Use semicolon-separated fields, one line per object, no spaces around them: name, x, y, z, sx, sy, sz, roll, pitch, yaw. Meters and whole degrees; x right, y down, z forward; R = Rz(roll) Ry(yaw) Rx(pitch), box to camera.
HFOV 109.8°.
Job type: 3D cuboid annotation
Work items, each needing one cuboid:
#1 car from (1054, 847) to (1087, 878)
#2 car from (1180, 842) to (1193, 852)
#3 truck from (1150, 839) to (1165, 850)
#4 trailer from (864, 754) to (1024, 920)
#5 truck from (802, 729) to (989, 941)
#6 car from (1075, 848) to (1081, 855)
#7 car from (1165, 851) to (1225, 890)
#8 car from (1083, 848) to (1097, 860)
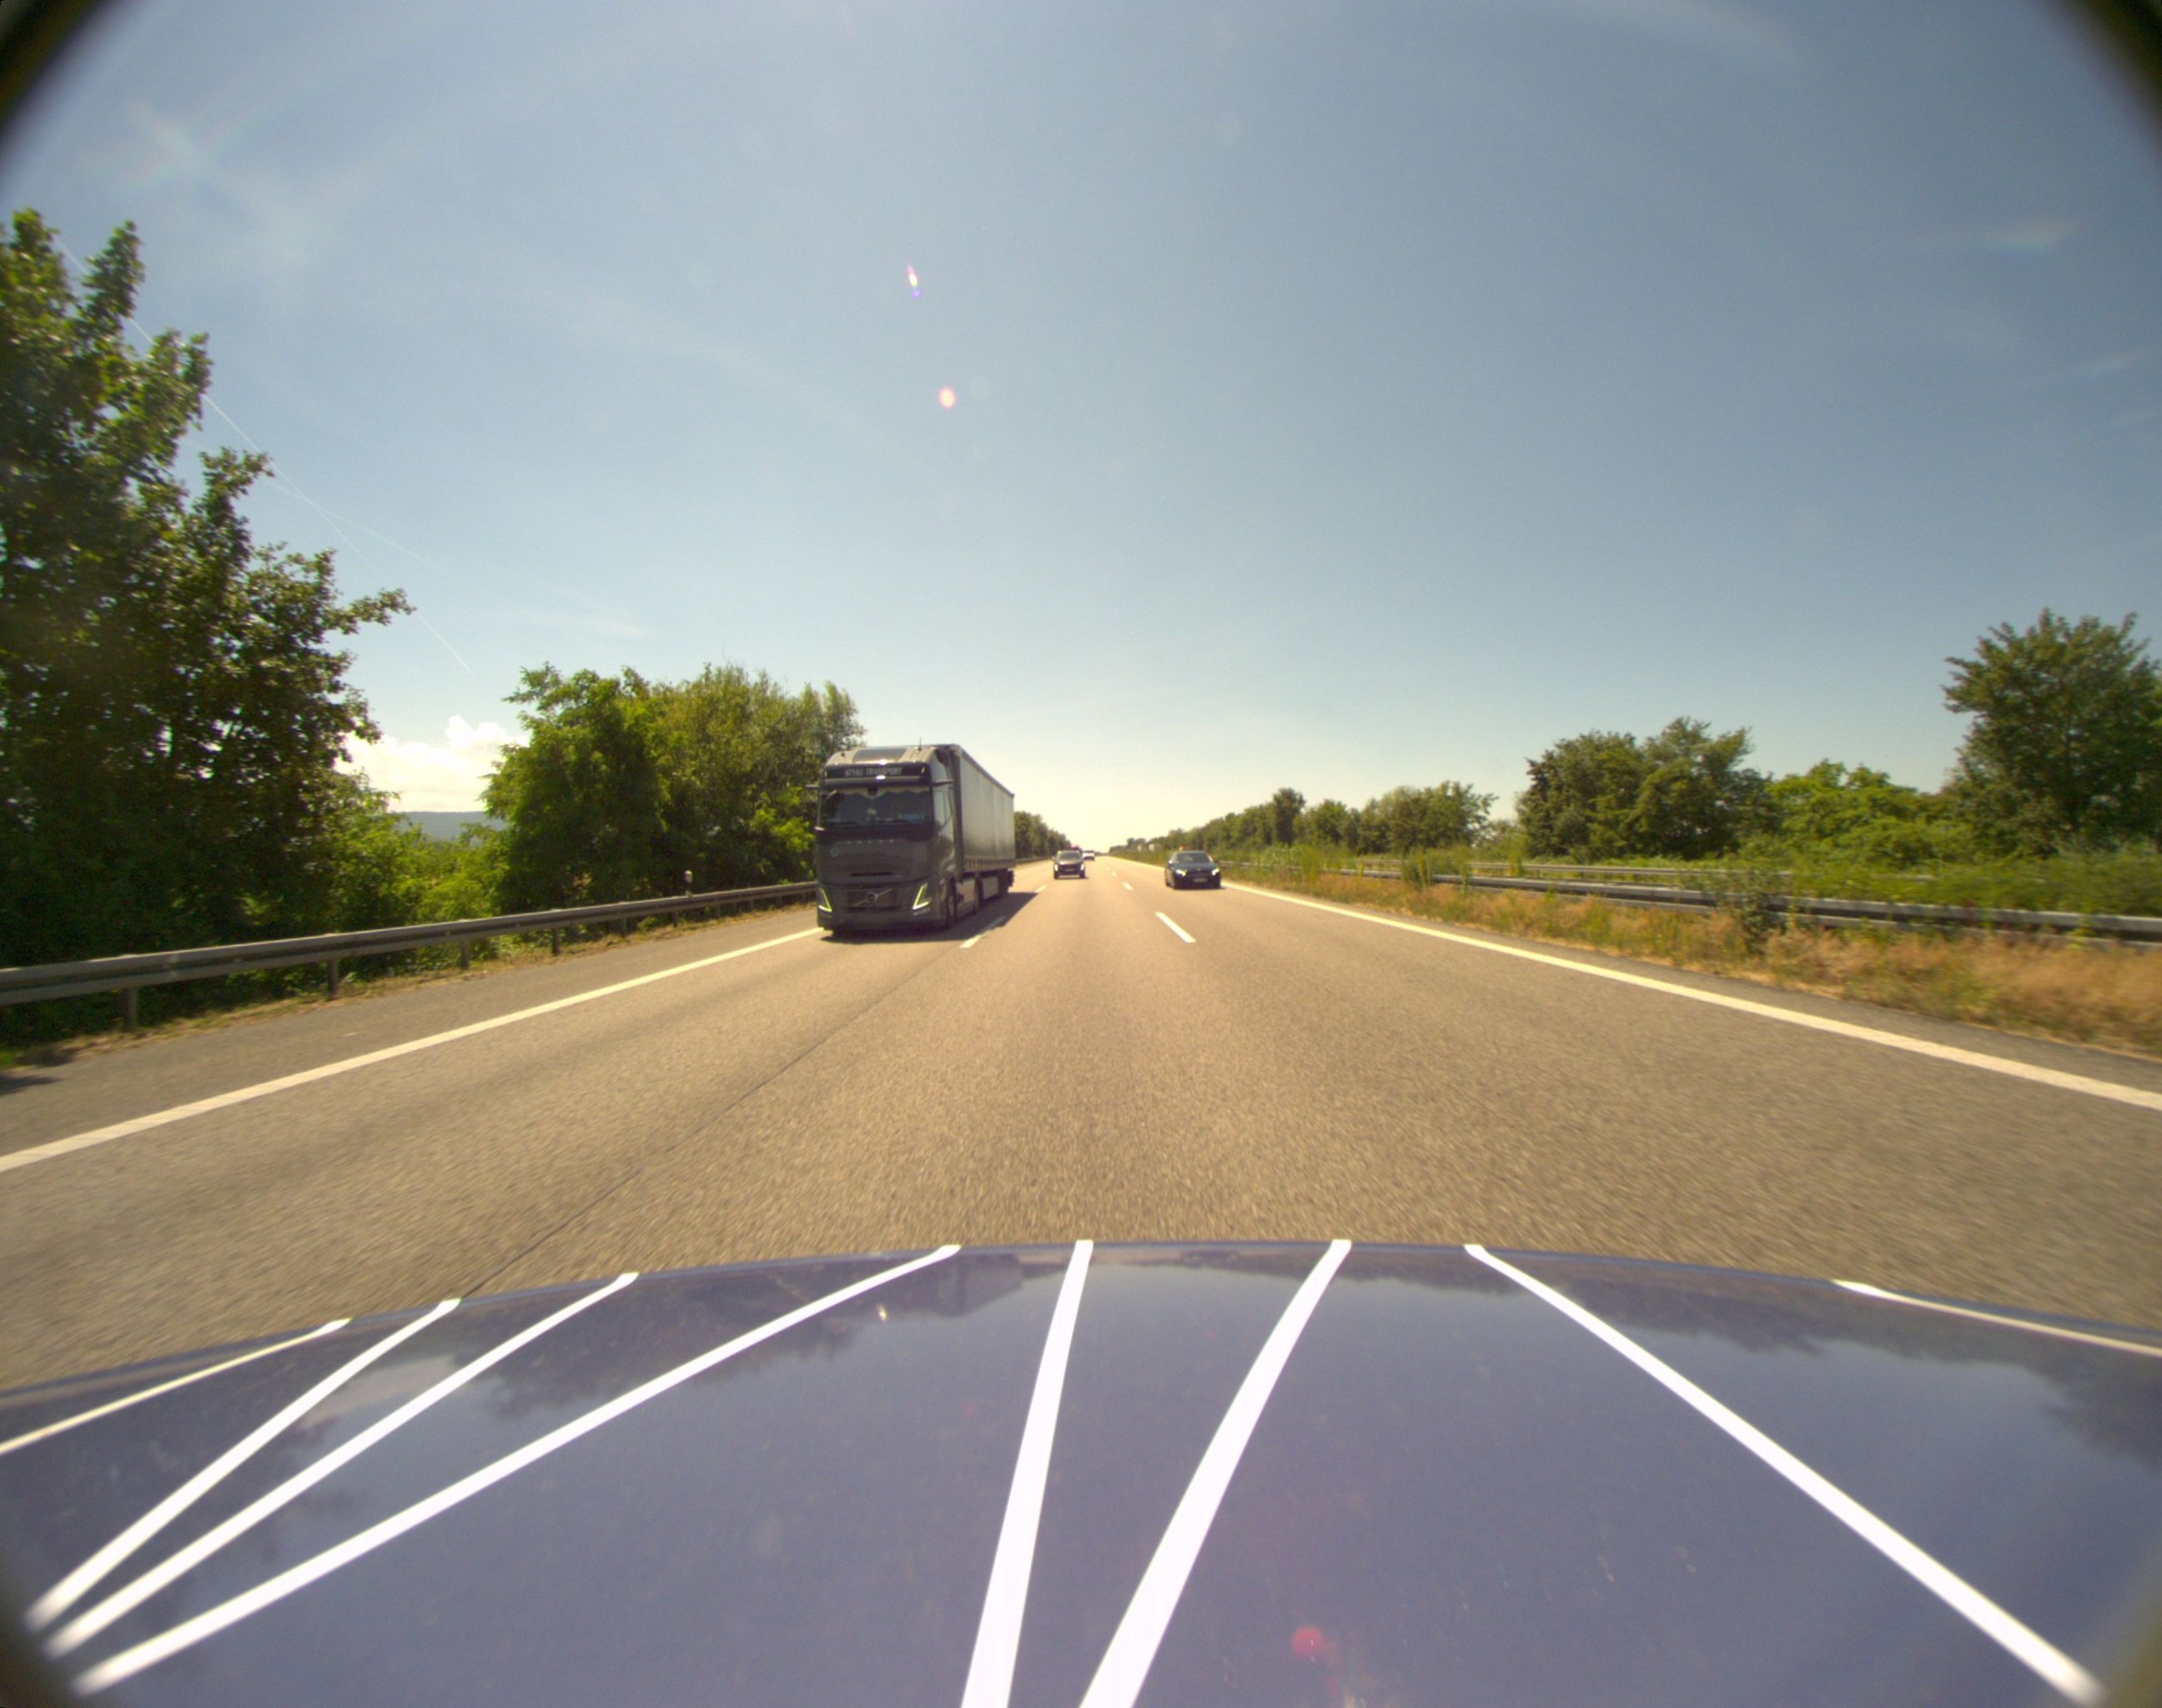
car;-0.583;0.479;45.026;1.796;1.696;4.000;-2;1;1
car;23.723;-1.585;171.240;2.187;2.423;4.954;0;1;-1
truck;24.705;-3.075;245.949;4.121;3.418;10.688;-2;1;1
trailer;-3.818;-0.453;25.098;2.559;3.931;13.537;-2;0;1
truck;-3.888;-0.373;17.595;2.559;3.932;6.513;-2;1;1
car;-0.953;-0.798;245.080;1.998;2.002;4.000;-2;1;1
car;4.415;0.590;29.977;1.796;1.403;4.052;-1;0;1
car;1.438;-0.023;124.155;2.147;1.810;5.267;-2;0;1
